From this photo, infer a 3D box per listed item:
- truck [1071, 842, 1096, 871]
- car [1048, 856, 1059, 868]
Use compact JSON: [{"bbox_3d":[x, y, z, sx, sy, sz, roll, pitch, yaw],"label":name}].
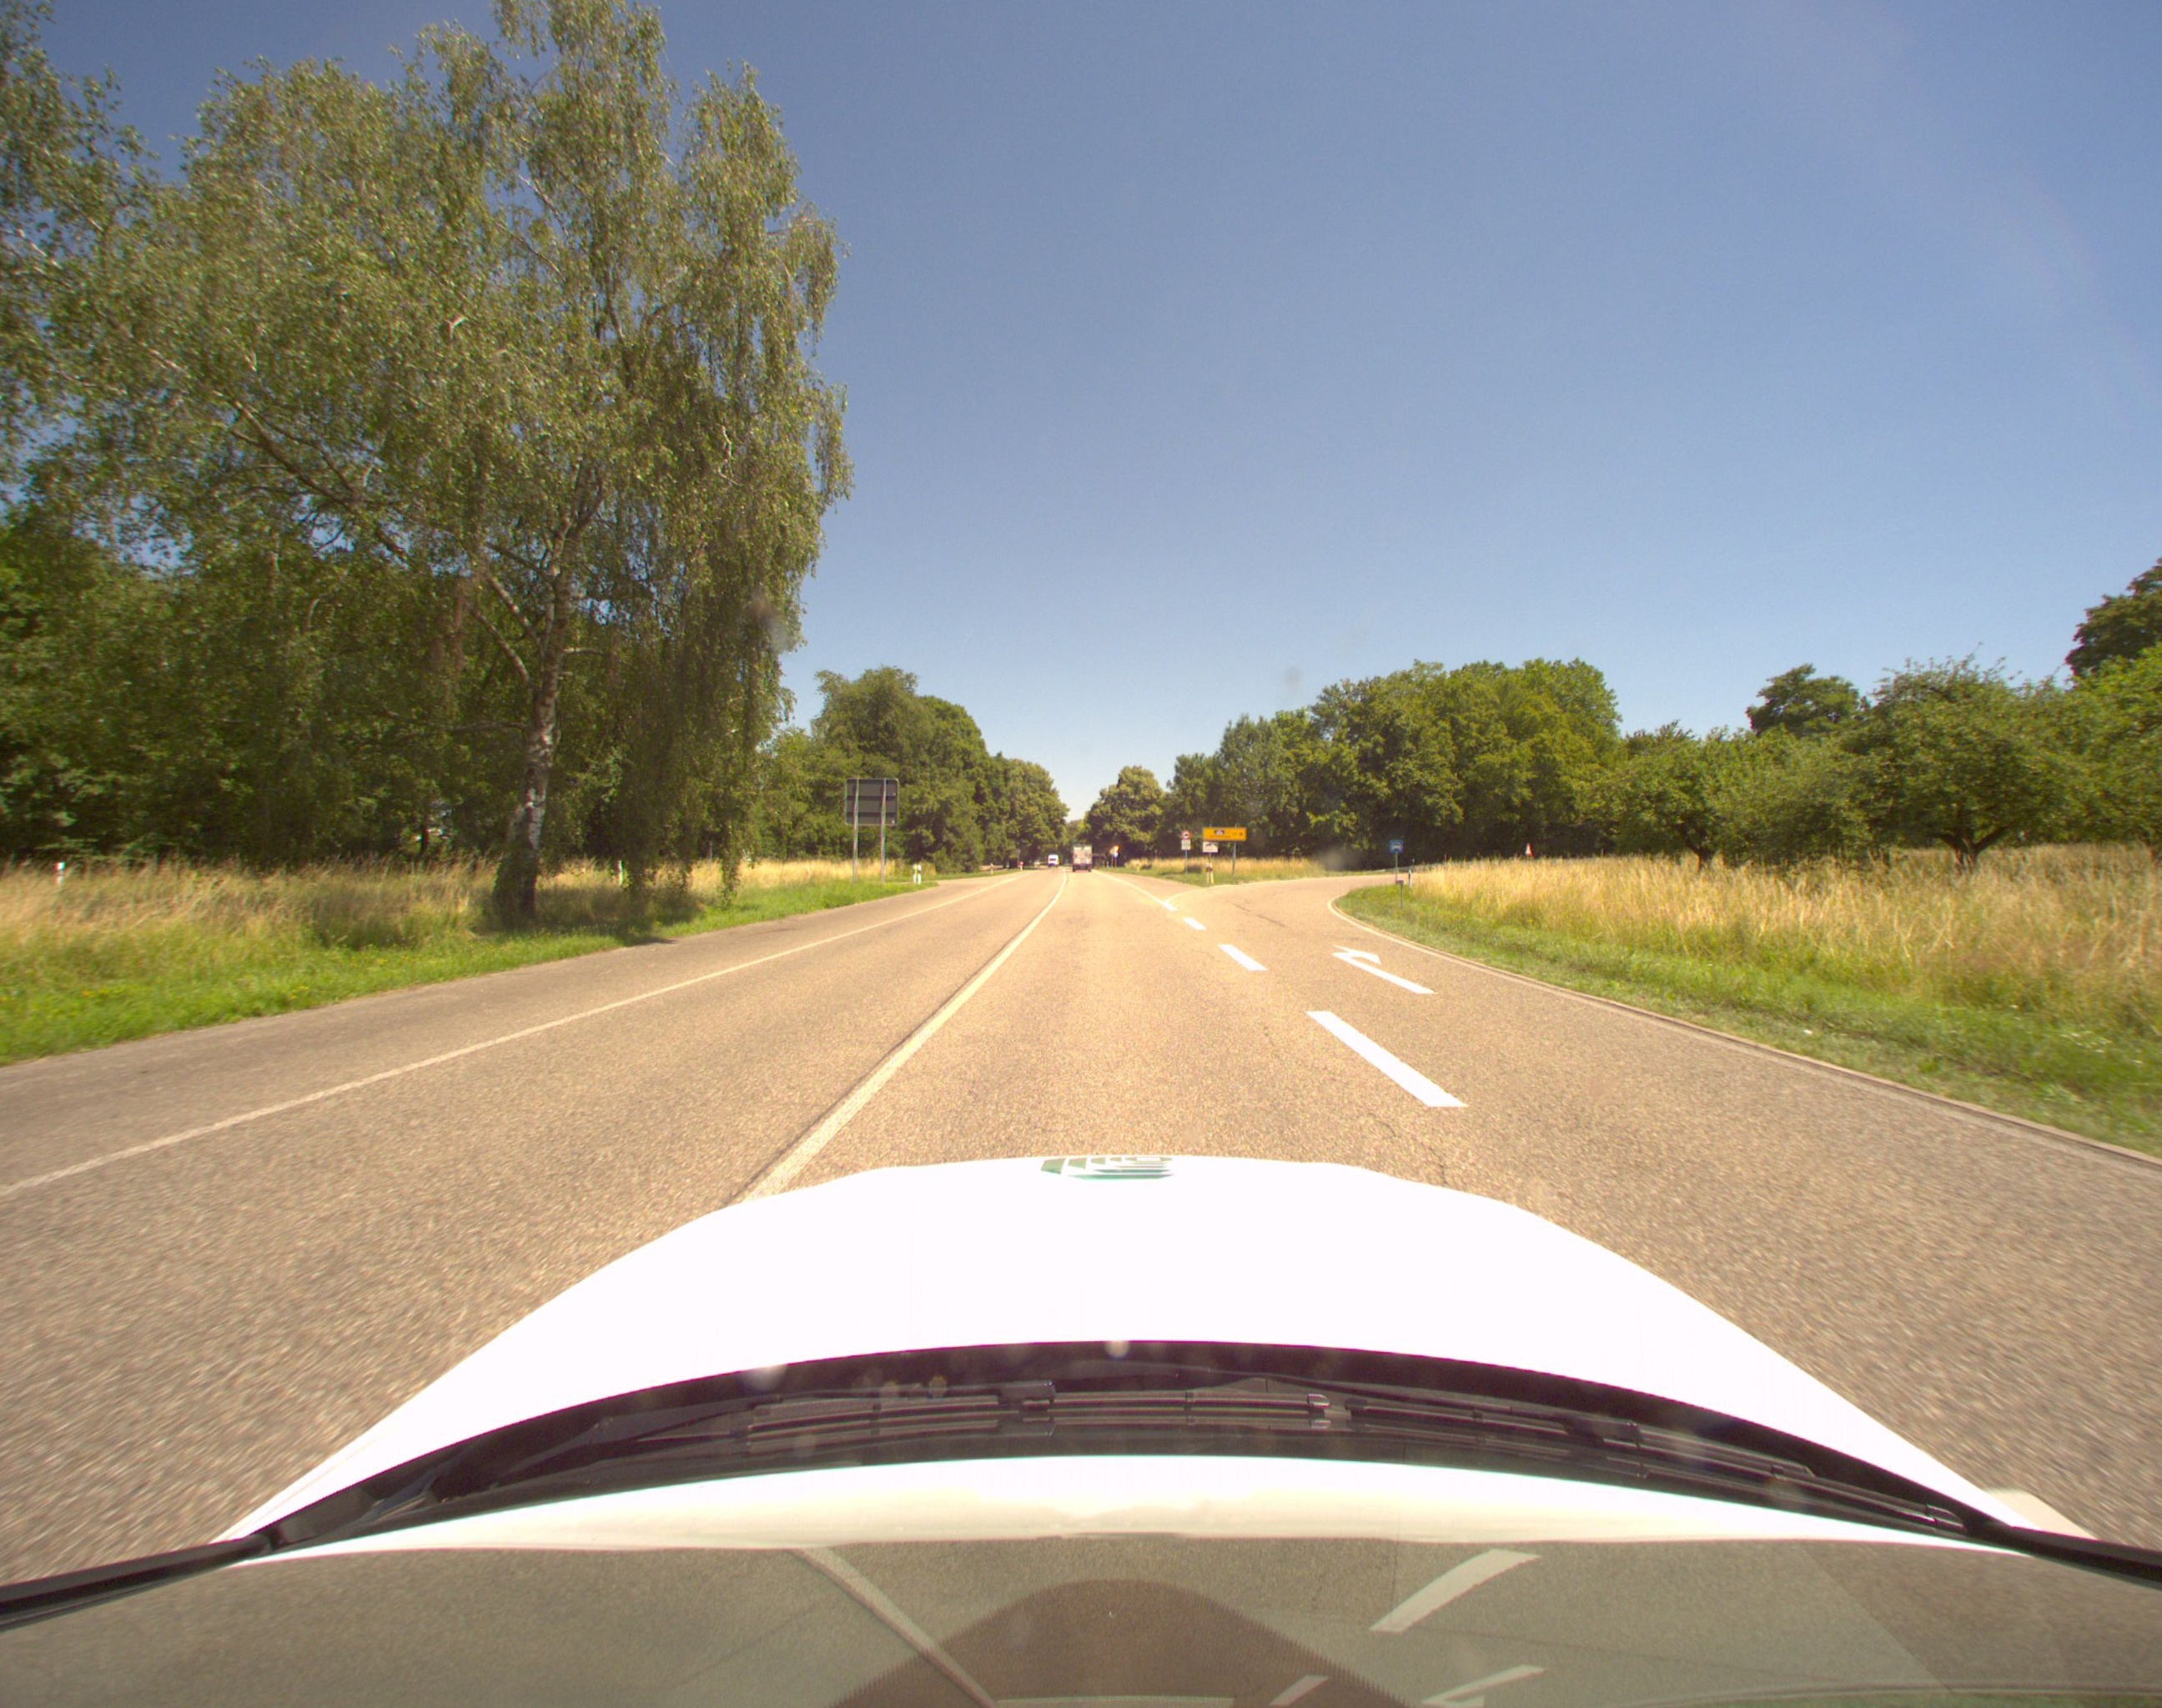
[{"bbox_3d":[0.340,0.295,91.245,2.523,3.135,5.365,-1,0,3],"label":"truck"},{"bbox_3d":[-6.097,1.744,182.202,2.066,2.628,6.782,-1,-1,0],"label":"car"}]
